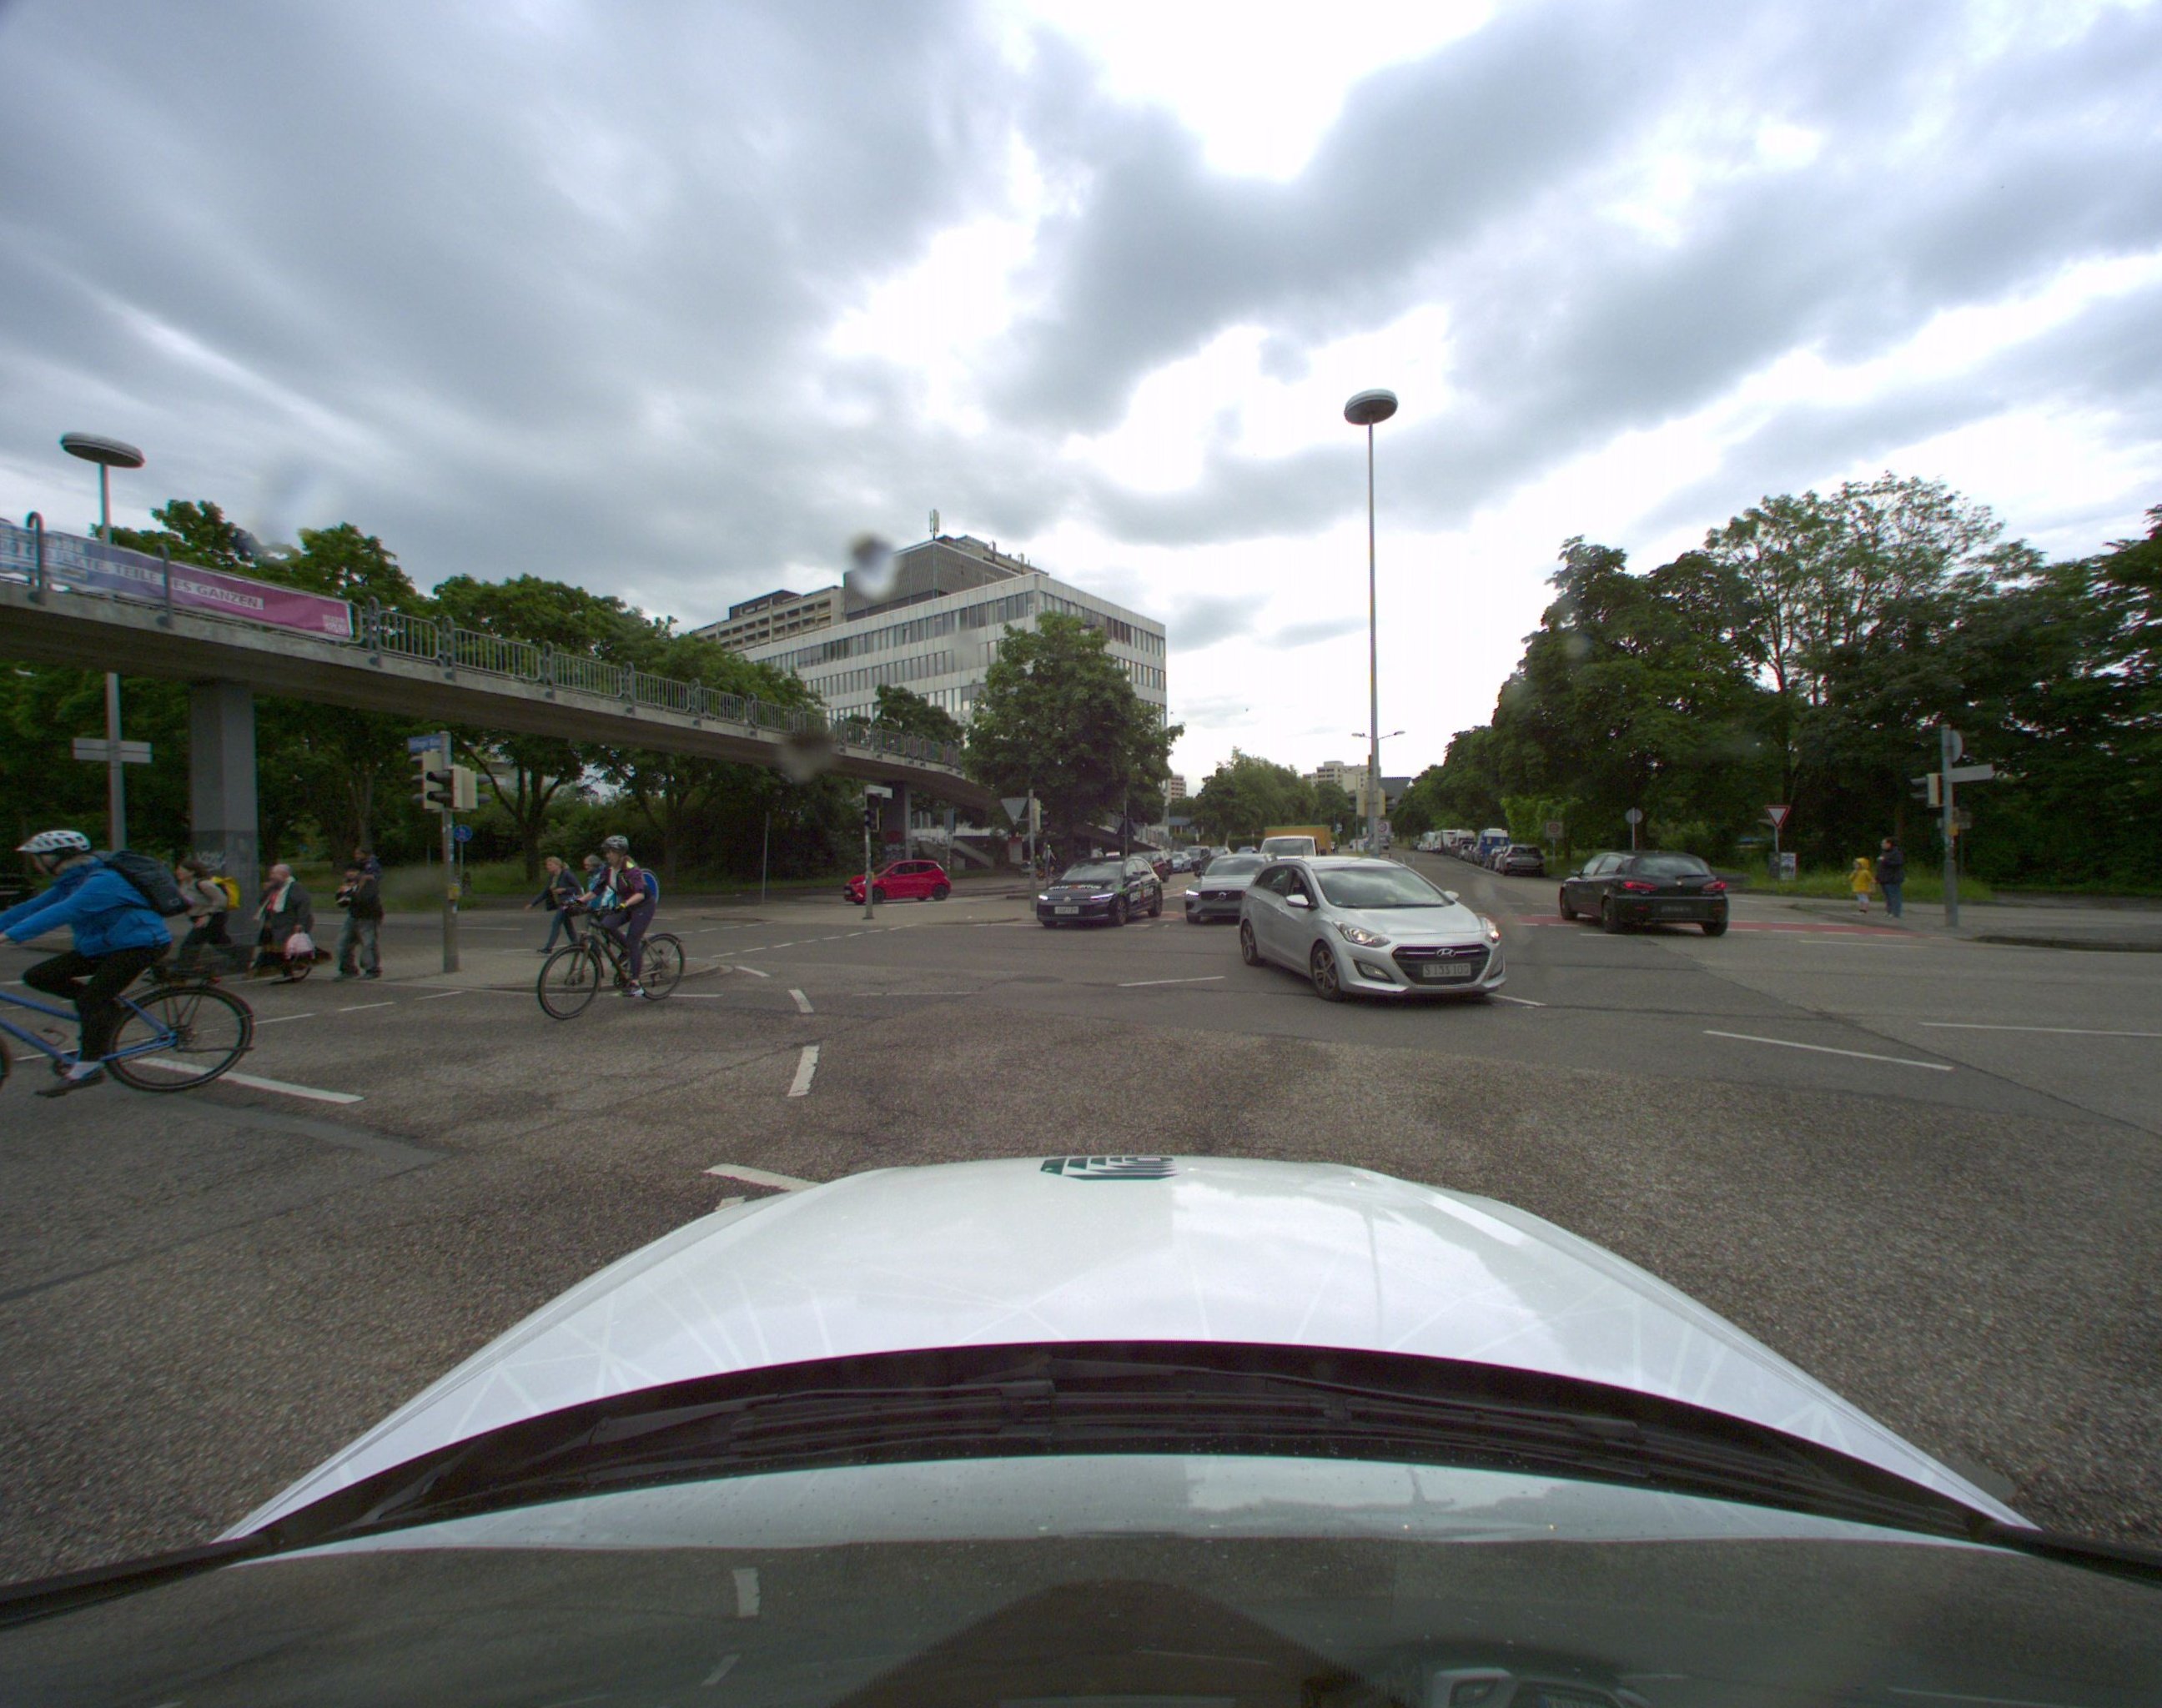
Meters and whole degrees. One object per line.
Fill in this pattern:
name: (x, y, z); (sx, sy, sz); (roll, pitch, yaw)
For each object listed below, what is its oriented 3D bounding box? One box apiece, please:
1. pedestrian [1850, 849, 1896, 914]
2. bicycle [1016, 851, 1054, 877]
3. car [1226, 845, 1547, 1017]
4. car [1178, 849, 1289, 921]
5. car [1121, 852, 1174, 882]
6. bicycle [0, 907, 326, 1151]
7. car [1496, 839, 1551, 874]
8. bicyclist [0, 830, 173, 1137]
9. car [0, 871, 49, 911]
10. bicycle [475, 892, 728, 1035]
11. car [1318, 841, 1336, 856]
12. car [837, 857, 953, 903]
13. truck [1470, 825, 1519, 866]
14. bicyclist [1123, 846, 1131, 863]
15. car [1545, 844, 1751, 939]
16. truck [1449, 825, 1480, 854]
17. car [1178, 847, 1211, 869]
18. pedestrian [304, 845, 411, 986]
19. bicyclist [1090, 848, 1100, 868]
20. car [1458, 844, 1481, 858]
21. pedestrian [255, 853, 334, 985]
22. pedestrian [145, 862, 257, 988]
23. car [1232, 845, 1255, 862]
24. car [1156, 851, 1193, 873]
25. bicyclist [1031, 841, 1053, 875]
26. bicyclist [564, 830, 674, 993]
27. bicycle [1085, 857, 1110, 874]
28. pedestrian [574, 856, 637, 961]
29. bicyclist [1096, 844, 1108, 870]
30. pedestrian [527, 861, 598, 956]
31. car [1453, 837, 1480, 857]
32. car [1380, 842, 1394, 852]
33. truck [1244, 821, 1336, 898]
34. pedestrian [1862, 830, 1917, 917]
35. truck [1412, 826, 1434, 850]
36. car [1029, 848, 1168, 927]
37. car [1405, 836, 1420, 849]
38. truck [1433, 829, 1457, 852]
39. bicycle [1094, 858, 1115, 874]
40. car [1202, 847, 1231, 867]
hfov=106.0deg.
pedestrian: (16.800, 0.571, 17.278); (0.522, 1.341, 0.527); (-1, 1, 19)
bicycle: (-2.560, 0.552, 45.705); (0.848, 1.315, 3.247); (-1, 1, 21)
car: (3.213, 0.674, 9.617); (1.787, 1.519, 4.316); (-1, 1, -6)
car: (3.608, 0.673, 18.524); (1.882, 1.420, 4.757); (-1, -1, 18)
car: (3.230, 0.611, 39.432); (1.544, 1.346, 2.990); (-1, 1, 26)
bicycle: (-6.281, 1.060, 5.194); (0.538, 1.267, 2.121); (-1, 1, 19)
car: (22.230, 0.077, 41.046); (1.769, 1.662, 4.020); (-1, 1, 19)
bicyclist: (-6.337, 0.744, 5.087); (0.639, 1.768, 0.650); (-1, 0, 18)
car: (-44.466, 1.493, 33.353); (4.344, 1.508, 1.682); (-1, 1, 24)
bicycle: (-4.743, 1.013, 8.308); (0.721, 1.101, 2.275); (-1, 1, 19)
car: (32.837, -0.758, 108.534); (1.977, 2.013, 4.020); (-1, 0, 20)
car: (-6.284, 0.842, 27.726); (3.550, 1.390, 1.500); (-1, 0, -38)
truck: (28.650, -0.605, 56.682); (2.157, 2.656, 6.277); (-2, 0, 19)
bicyclist: (3.193, 0.043, 56.654); (0.427, 1.217, 0.570); (-1, 0, 18)
car: (10.261, 0.579, 15.182); (1.784, 1.457, 4.561); (-1, 1, 16)
truck: (39.531, -1.453, 84.120); (1.978, 2.838, 5.756); (-1, 0, 16)
car: (8.564, 0.314, 61.258); (1.657, 1.552, 3.781); (-1, 1, 20)
pedestrian: (-9.653, 0.790, 10.890); (0.633, 1.803, 0.804); (-1, 1, 10)
bicyclist: (0.843, 0.226, 48.012); (0.401, 1.181, 0.379); (4, 3, 21)
car: (34.091, -0.273, 71.448); (1.314, 1.191, 3.670); (-1, 1, 18)
pedestrian: (-10.341, 0.842, 10.718); (0.615, 1.691, 0.406); (-1, 0, 5)
pedestrian: (-11.524, 0.903, 10.694); (0.577, 1.579, 0.782); (-1, 0, 1)
car: (16.032, -0.057, 80.281); (1.657, 1.552, 4.020); (-1, 1, 20)
car: (6.503, 0.561, 56.307); (1.657, 1.387, 3.915); (-1, 1, 20)
bicyclist: (-2.211, 0.208, 46.286); (0.848, 1.892, 1.133); (-1, 1, 21)
bicyclist: (-4.749, 0.562, 8.399); (0.673, 1.594, 0.698); (-1, 0, 19)
bicycle: (0.981, 0.690, 48.213); (0.755, 0.949, 1.964); (-1, 1, 23)
pedestrian: (-7.524, 0.849, 12.898); (0.682, 1.604, 0.490); (-1, 1, 15)
bicyclist: (1.319, 0.215, 51.822); (0.559, 1.644, 0.535); (-1, 0, 34)
pedestrian: (-8.515, 0.887, 13.389); (0.912, 1.510, 0.405); (-1, 1, 8)
car: (35.627, -0.679, 75.312); (1.706, 1.759, 4.019); (-1, 0, 18)
car: (49.583, -1.163, 132.156); (2.004, 1.505, 4.020); (-1, 1, 19)
truck: (6.912, 0.114, 26.453); (2.137, 2.199, 5.871); (-1, 1, 21)
pedestrian: (16.637, 0.391, 16.768); (0.651, 1.749, 0.461); (-1, 1, 19)
truck: (44.771, -2.061, 106.621); (1.978, 3.009, 5.797); (-1, 0, 16)
car: (0.547, 0.653, 18.090); (1.755, 1.477, 4.412); (-1, 1, 20)
car: (49.734, -1.715, 122.214); (1.639, 1.918, 3.935); (-1, 1, 15)
truck: (42.770, -1.527, 95.839); (1.978, 2.572, 5.403); (-1, 0, 17)
bicycle: (1.483, 0.777, 51.915); (0.521, 0.949, 1.720); (-1, 1, 32)
car: (11.372, 0.207, 67.983); (1.657, 1.552, 4.020); (-1, 1, 20)
